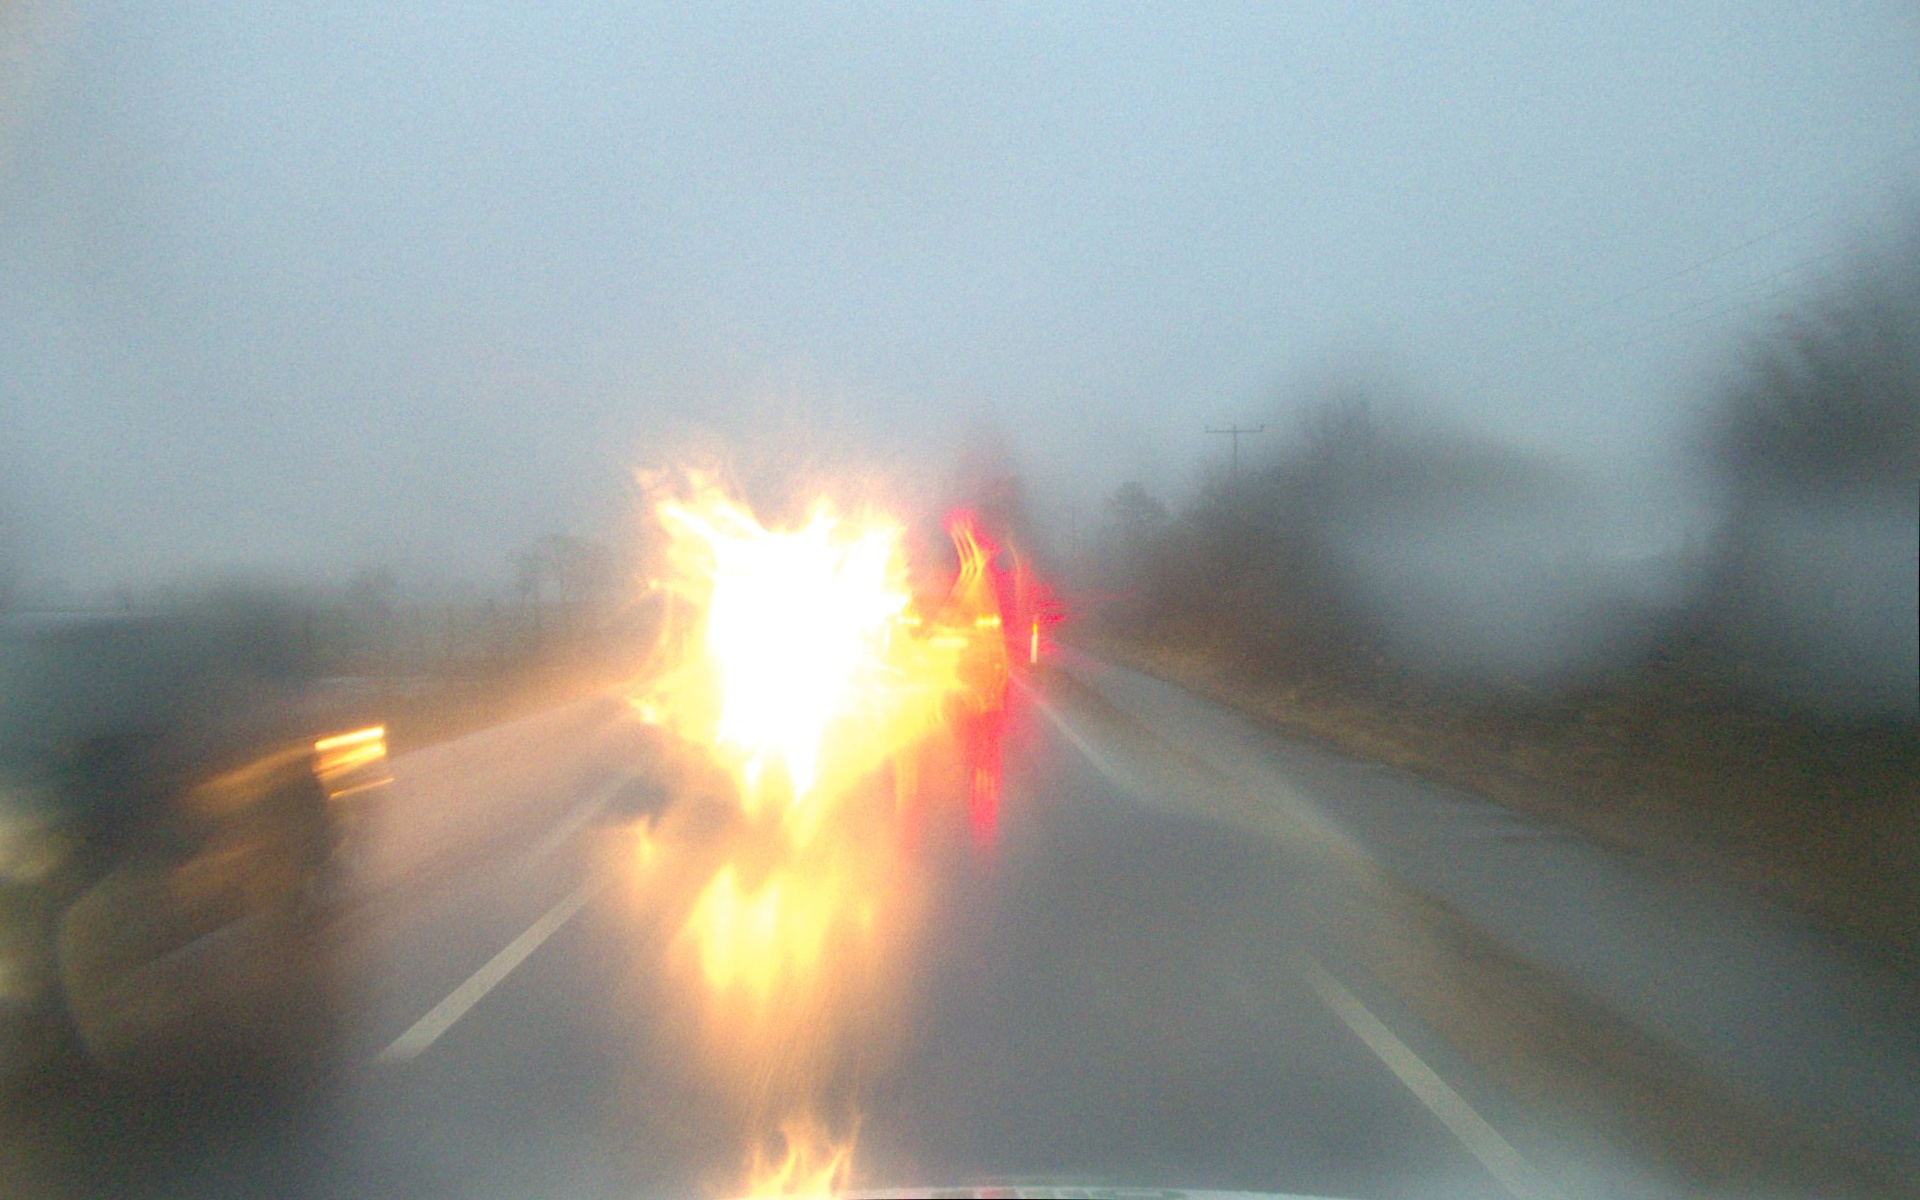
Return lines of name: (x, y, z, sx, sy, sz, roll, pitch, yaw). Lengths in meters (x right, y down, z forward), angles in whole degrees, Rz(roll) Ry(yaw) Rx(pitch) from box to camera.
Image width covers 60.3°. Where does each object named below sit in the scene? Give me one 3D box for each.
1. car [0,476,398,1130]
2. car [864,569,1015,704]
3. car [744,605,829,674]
car: (-3.655, 0.589, 5.972, 1.787, 1.838, 4.492, -2, 0, -2)
car: (-0.322, 0.488, 25.275, 2.077, 1.852, 4.979, 0, 0, -1)
car: (-4.118, 0.911, 39.792, 1.654, 1.505, 3.773, -1, 0, -1)
